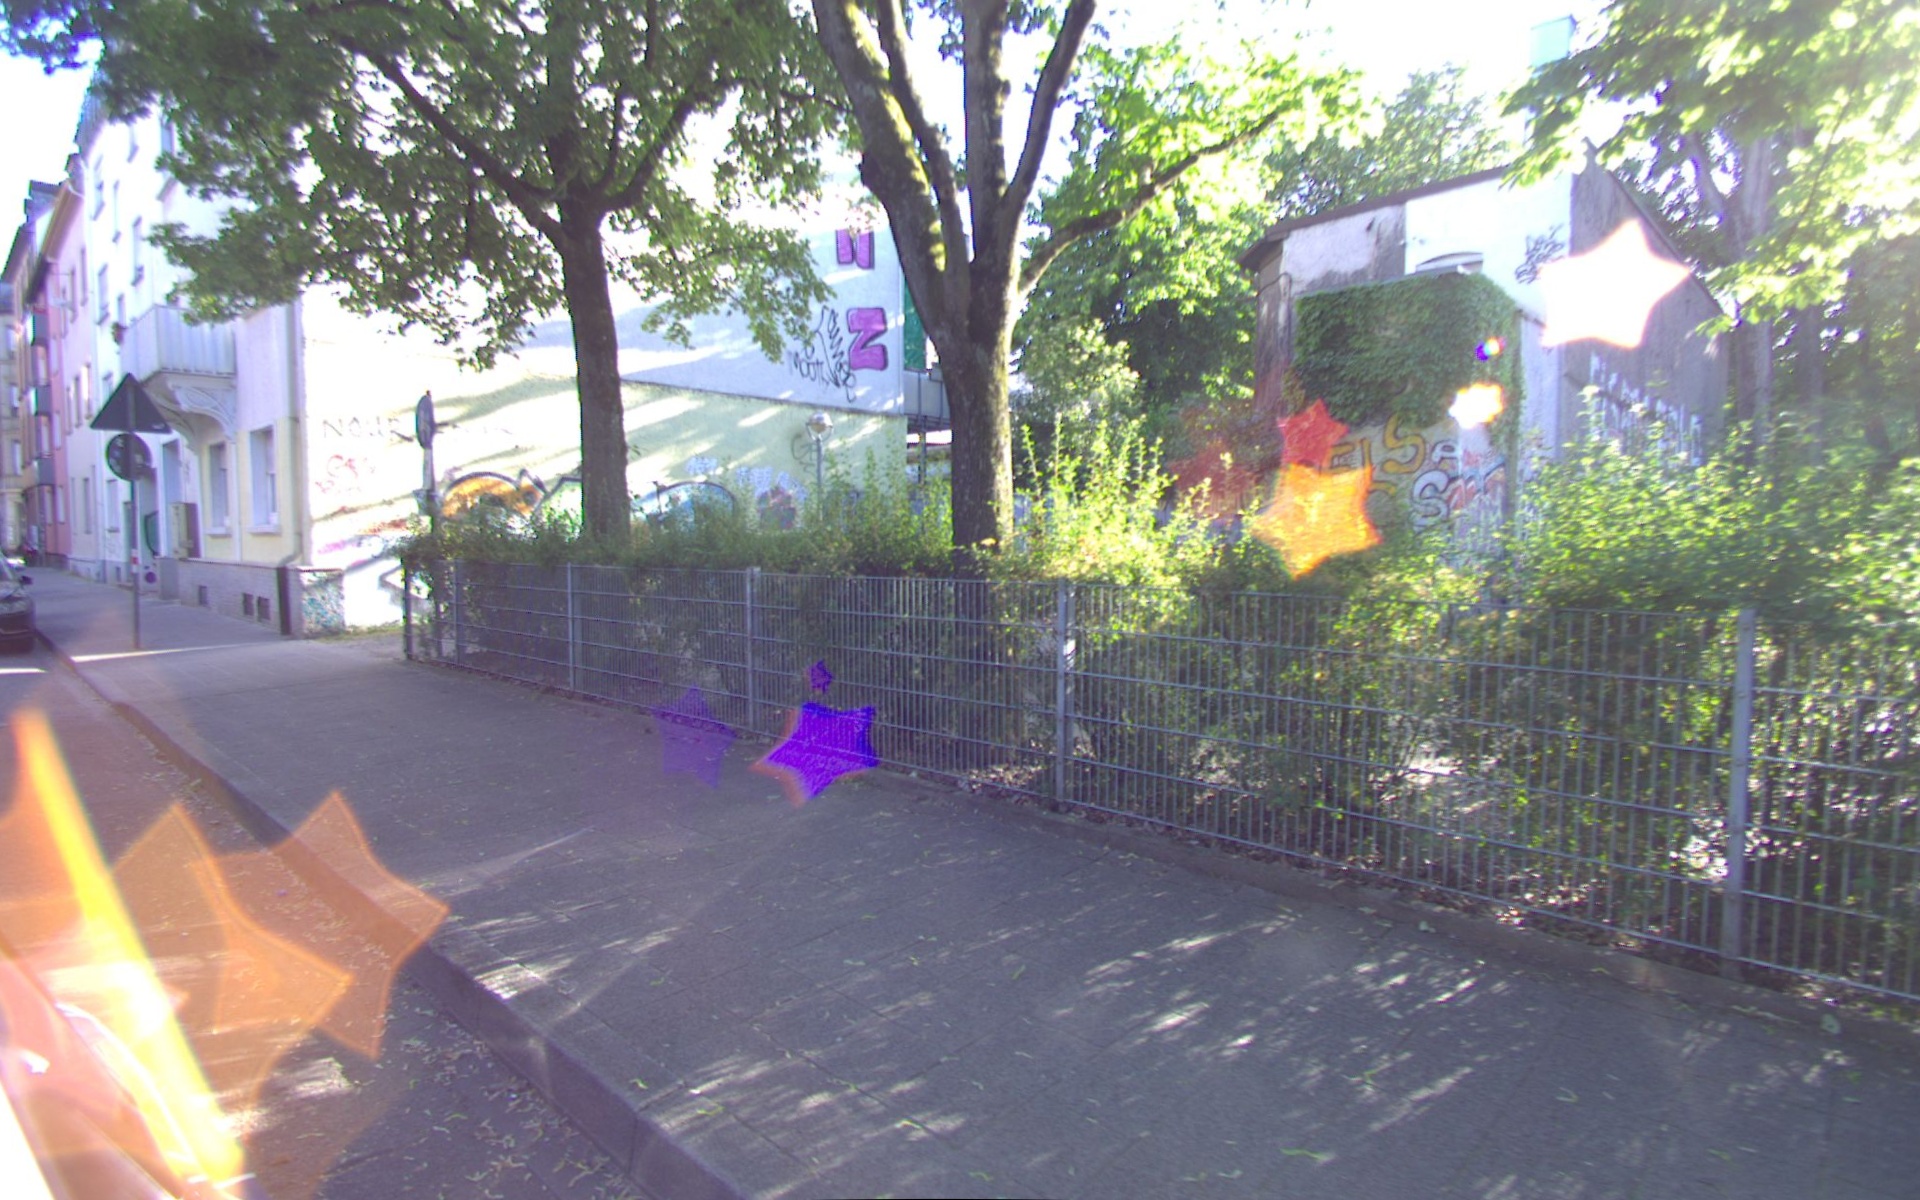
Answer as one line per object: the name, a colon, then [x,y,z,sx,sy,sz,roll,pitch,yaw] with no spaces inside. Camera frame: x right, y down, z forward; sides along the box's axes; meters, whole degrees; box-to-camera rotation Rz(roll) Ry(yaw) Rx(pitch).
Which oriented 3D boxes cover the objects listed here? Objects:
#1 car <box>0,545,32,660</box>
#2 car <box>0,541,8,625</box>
car: [-14.279,-0.064,14.055,4.394,1.454,1.759,4,2,44]
car: [-18.470,-0.381,18.428,1.575,1.461,3.488,1,2,-44]
